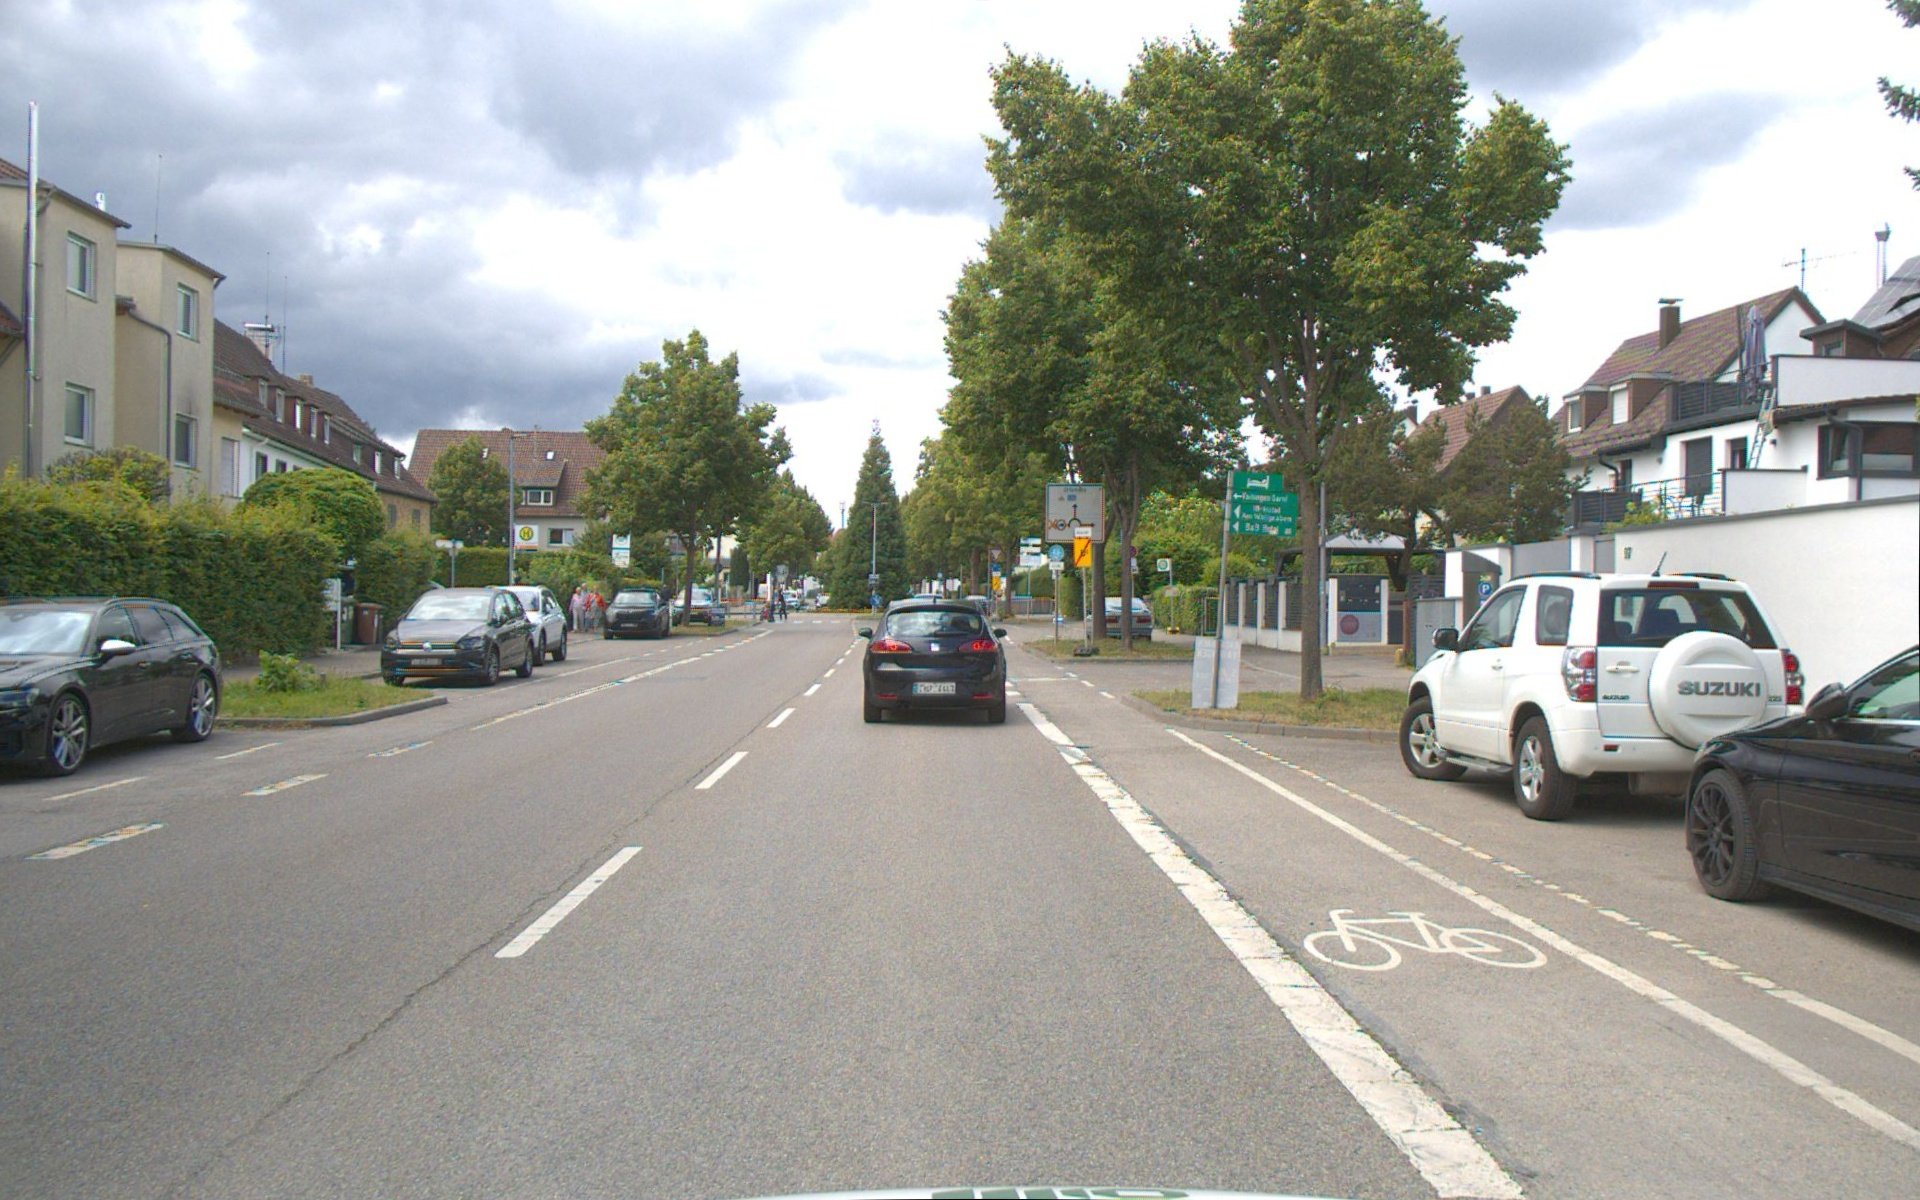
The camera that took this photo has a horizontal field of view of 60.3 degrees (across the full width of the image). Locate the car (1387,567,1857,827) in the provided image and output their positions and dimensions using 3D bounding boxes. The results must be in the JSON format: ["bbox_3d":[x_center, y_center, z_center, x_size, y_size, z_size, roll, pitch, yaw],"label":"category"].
[{"bbox_3d":[4.802,0.637,12.721,1.862,1.671,4.115,0,0,-2],"label":"car"}]

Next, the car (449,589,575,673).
[{"bbox_3d":[-9.514,0.611,35.471,1.785,1.662,4.582,0,0,-5],"label":"car"}]

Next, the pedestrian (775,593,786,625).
[{"bbox_3d":[-9.548,0.480,88.055,0.507,1.699,0.480,0,0,-21],"label":"pedestrian"}]

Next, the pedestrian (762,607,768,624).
[{"bbox_3d":[-10.294,0.813,87.269,0.235,0.910,0.257,1,0,-27],"label":"pedestrian"}]

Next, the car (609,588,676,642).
[{"bbox_3d":[-10.877,0.497,56.966,1.690,1.755,4.561,1,0,-4],"label":"car"}]

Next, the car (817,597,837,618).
[{"bbox_3d":[-10.849,0.601,134.986,1.537,1.663,3.620,0,0,-3],"label":"car"}]

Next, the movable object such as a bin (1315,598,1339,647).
[{"bbox_3d":[8.441,0.510,38.051,0.427,1.129,0.454,0,0,-1],"label":"movable object such as a bin"}]

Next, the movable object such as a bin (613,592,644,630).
[{"bbox_3d":[-15.175,0.489,75.773,1.182,1.680,0.997,3,-1,-5],"label":"movable object such as a bin"}]

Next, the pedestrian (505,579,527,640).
[{"bbox_3d":[-13.555,0.296,50.509,0.493,1.837,0.671,0,0,-2],"label":"pedestrian"}]

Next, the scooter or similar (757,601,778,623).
[{"bbox_3d":[-10.196,0.629,87.633,0.955,1.115,0.403,3,-1,-26],"label":"scooter or similar"}]

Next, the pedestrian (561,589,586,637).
[{"bbox_3d":[-13.597,0.449,58.223,0.772,1.692,0.879,0,0,-9],"label":"pedestrian"}]

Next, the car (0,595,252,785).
[{"bbox_3d":[-8.532,0.729,15.563,1.954,1.511,4.886,-1,0,-5],"label":"car"}]

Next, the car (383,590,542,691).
[{"bbox_3d":[-8.377,0.633,28.185,1.644,1.579,4.269,0,0,-3],"label":"car"}]

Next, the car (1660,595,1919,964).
[{"bbox_3d":[4.705,0.718,6.699,1.825,1.441,4.603,0,0,0],"label":"car"}]

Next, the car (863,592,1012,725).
[{"bbox_3d":[-0.235,0.669,20.835,1.696,1.512,4.000,0,0,0],"label":"car"}]

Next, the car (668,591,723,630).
[{"bbox_3d":[-11.701,0.443,73.385,1.823,1.682,4.293,1,0,-1],"label":"car"}]

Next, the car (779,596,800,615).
[{"bbox_3d":[-15.524,0.491,150.665,1.762,1.629,3.998,0,0,-3],"label":"car"}]

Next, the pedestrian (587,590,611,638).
[{"bbox_3d":[-12.853,0.486,58.824,0.772,1.692,0.753,1,0,-9],"label":"pedestrian"}]

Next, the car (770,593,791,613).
[{"bbox_3d":[-18.312,0.331,168.660,1.990,2.005,3.996,0,0,-5],"label":"car"}]

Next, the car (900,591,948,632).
[{"bbox_3d":[-1.498,0.474,69.471,1.953,1.641,3.999,1,0,-1],"label":"car"}]

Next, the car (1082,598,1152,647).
[{"bbox_3d":[4.664,0.701,49.583,1.579,1.401,4.385,0,-1,-2],"label":"car"}]

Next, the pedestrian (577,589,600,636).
[{"bbox_3d":[-13.408,0.447,59.689,0.772,1.692,0.590,0,0,-9],"label":"pedestrian"}]
